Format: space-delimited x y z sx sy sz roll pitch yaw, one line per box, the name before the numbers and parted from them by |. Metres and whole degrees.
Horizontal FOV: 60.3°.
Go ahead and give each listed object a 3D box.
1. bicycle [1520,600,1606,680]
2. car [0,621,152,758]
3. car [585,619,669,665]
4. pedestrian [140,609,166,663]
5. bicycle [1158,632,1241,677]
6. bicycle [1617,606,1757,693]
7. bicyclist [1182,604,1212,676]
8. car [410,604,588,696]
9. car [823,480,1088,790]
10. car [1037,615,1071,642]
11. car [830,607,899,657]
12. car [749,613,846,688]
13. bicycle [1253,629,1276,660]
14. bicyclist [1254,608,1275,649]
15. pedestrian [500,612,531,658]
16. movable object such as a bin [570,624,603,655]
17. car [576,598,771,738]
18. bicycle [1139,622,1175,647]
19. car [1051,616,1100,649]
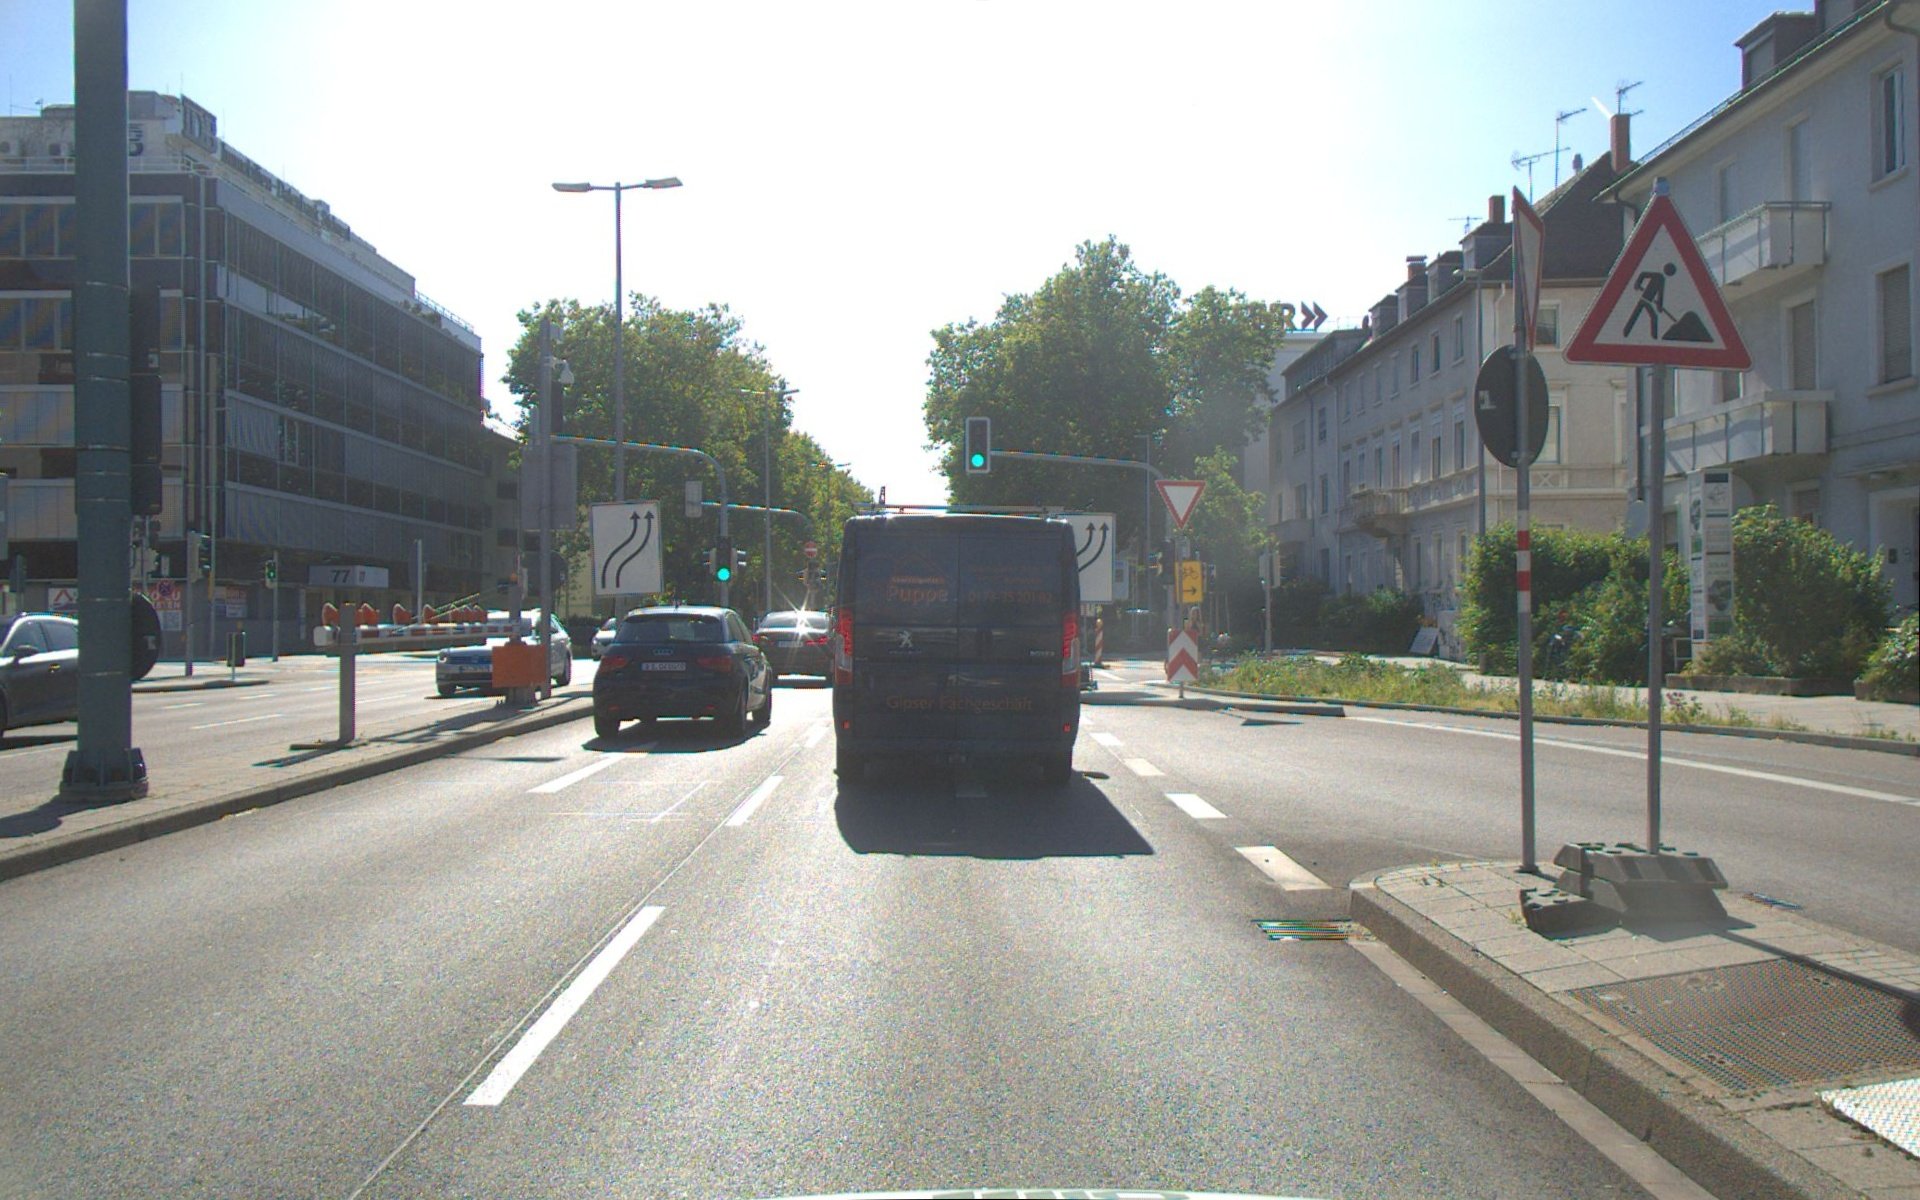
bicycle | 11.606 0.738 31.925 0.694 1.469 2.490 1 0 -1
car | -11.396 1.056 19.516 1.574 1.466 4.310 -3 0 -1
car | -11.603 1.443 57.904 1.952 1.478 4.391 -1 0 1
pedestrian | -25.871 1.147 53.014 0.691 1.687 0.739 0 -1 -30
bicycle | 5.826 1.324 40.273 1.922 1.043 0.605 1 0 -1
bicycle | 12.902 0.863 29.370 2.209 1.511 0.638 0 -1 -2
bicyclist | 5.771 0.967 40.331 0.591 1.738 0.858 0 -1 0
car | -8.620 0.888 31.351 1.952 1.478 4.619 -2 1 1
car | -0.065 0.285 14.837 2.052 2.396 3.932 0 0 -1
car | 5.471 1.675 96.483 1.727 1.534 4.250 0 -1 0
car | -2.979 0.989 52.430 1.872 1.469 4.602 1 0 0
car | -3.291 1.026 34.127 1.711 1.432 3.998 1 -1 -2
bicycle | 11.310 1.633 61.438 0.674 1.117 1.688 0 -1 5
bicyclist | 11.300 1.049 61.394 0.708 1.526 0.872 -1 -1 6
pedestrian | -17.005 1.326 63.304 0.846 1.741 1.013 -1 -1 7
movable object such as a bin | -17.533 1.845 77.692 1.091 1.413 1.856 0 -1 2
car | -3.278 0.724 19.615 1.711 1.432 3.999 1 1 -2
bicycle | 8.161 1.407 68.558 0.577 1.023 2.125 -1 -1 34
car | 5.361 1.499 77.257 1.815 1.505 4.940 0 -1 -2
